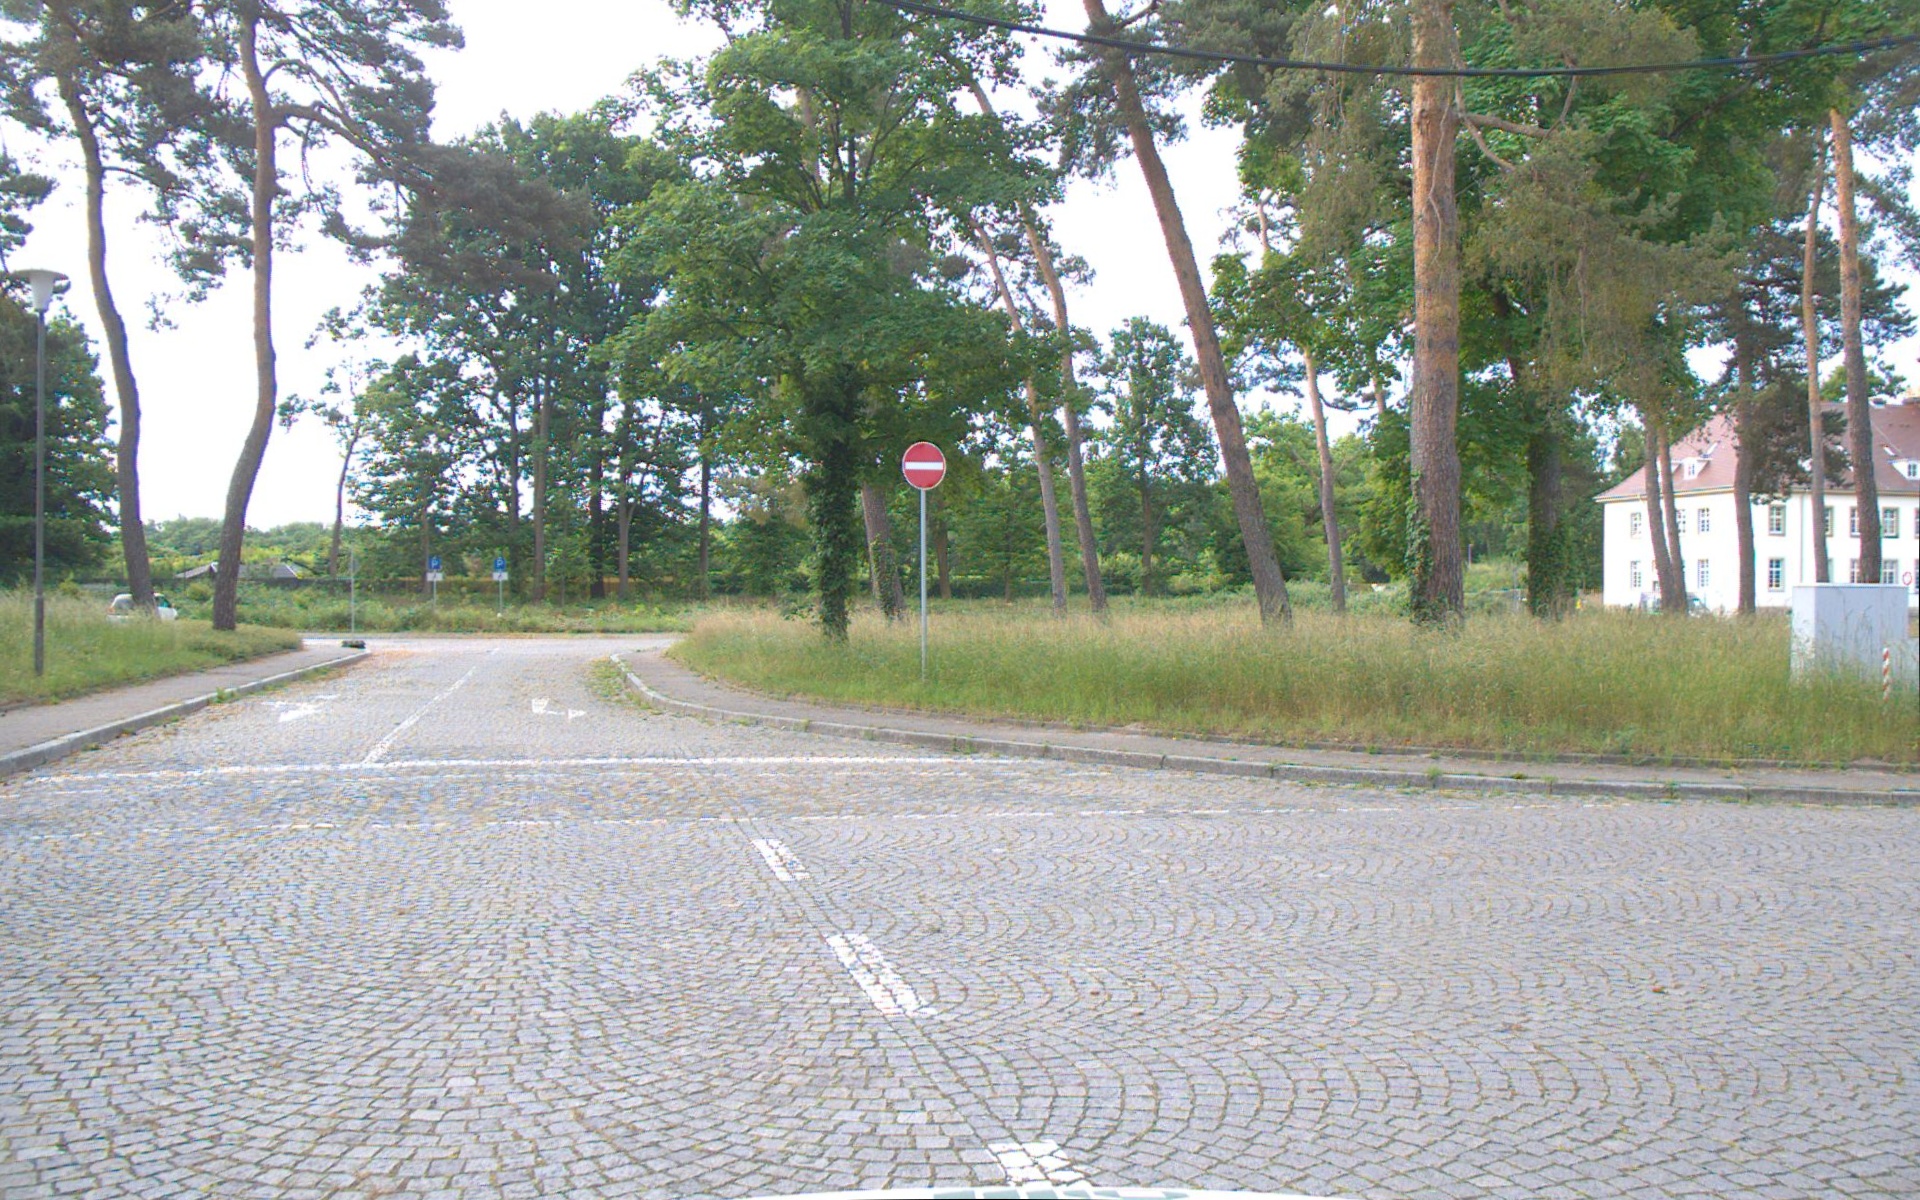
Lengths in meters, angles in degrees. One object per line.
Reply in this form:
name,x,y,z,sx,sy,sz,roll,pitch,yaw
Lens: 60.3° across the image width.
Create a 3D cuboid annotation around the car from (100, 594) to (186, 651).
car,-28.516,0.762,57.871,1.961,1.878,3.982,2,0,-16
